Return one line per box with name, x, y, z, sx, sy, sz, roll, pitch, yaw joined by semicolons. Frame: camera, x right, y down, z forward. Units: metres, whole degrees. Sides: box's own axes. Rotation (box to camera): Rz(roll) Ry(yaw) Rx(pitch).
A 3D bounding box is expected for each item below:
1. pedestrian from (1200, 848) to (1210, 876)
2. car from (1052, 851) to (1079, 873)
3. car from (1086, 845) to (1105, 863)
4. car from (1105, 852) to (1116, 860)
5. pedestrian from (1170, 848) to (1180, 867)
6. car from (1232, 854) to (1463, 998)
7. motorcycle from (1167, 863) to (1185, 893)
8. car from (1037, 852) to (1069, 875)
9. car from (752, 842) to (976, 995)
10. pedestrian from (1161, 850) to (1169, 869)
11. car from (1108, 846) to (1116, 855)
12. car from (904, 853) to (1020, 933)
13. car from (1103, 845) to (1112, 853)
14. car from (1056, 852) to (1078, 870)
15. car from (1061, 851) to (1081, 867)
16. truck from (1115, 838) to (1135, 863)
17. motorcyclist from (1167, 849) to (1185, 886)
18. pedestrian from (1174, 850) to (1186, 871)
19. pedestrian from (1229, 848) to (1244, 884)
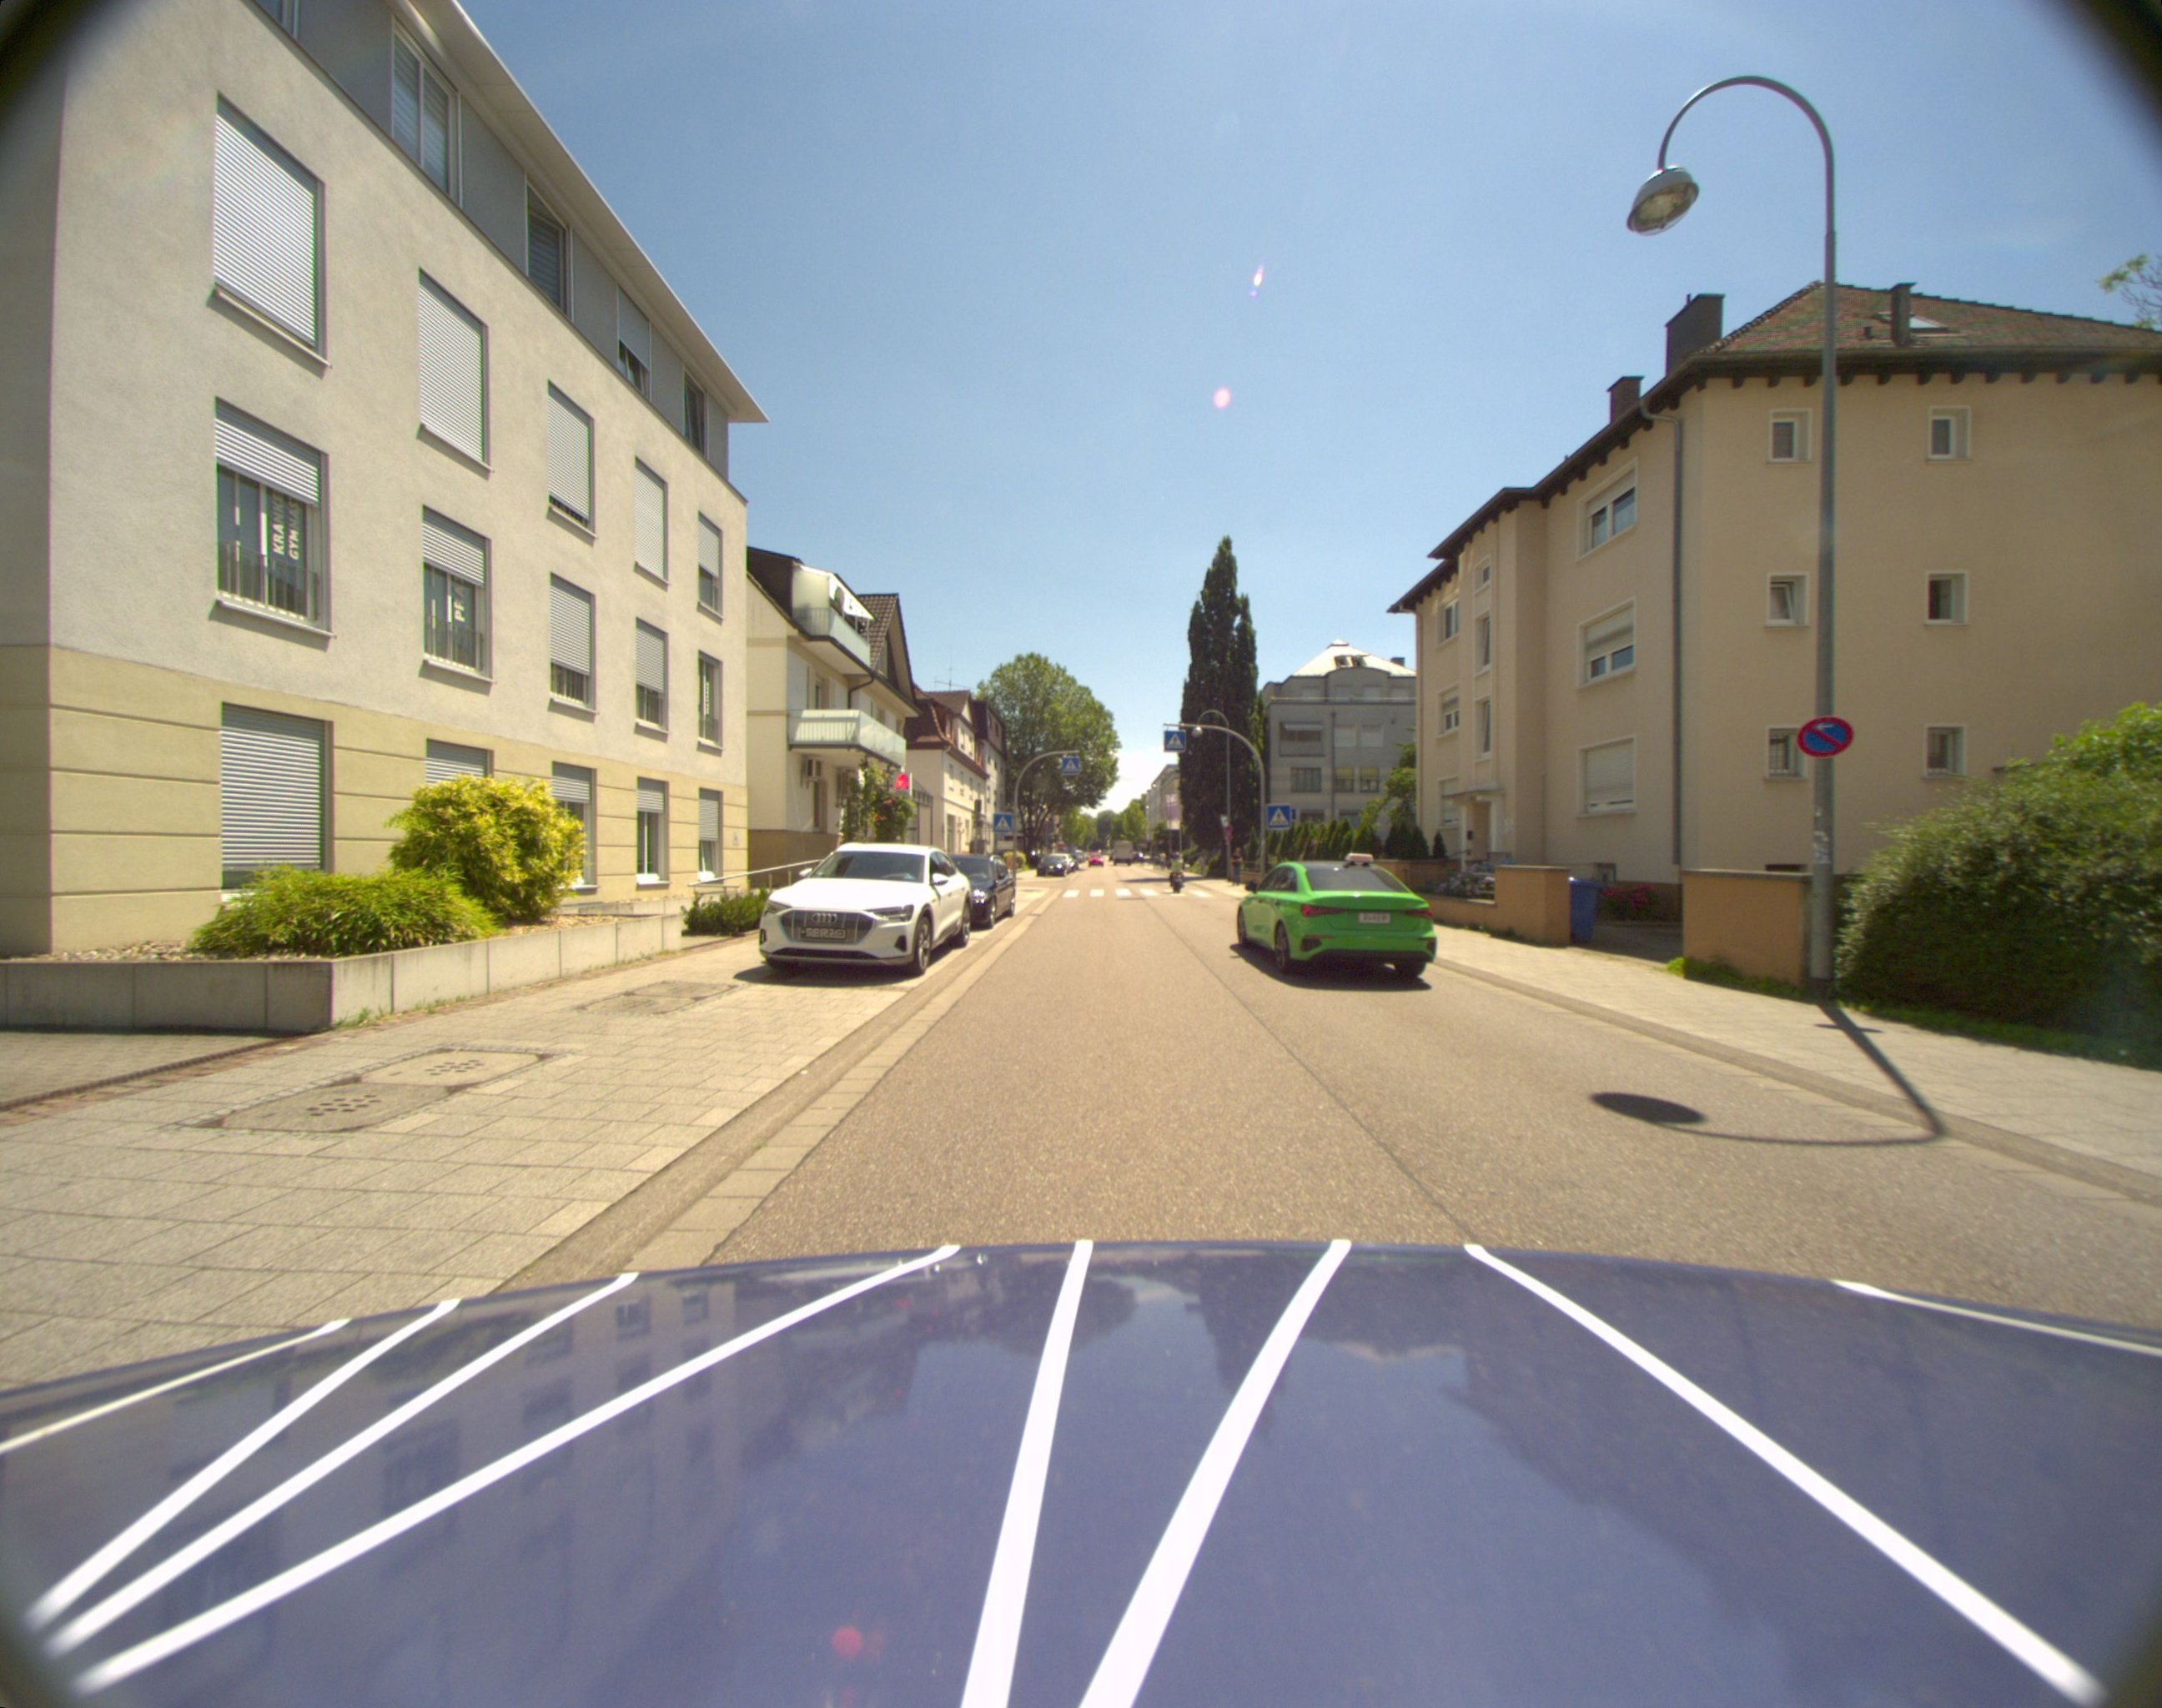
pedestrian;7.716;0.498;47.302;0.538;1.675;0.708;-1;1;1
car;-1.145;0.554;57.291;1.748;1.460;4.852;2;1;1
car;1.659;-0.006;86.000;2.000;1.880;4.294;-2;1;1
car;5.129;0.355;134.238;1.834;1.502;4.262;1;0;1
pedestrian;8.530;0.301;68.977;0.750;1.760;0.951;-1;1;1
car;3.401;0.807;10.591;1.827;1.579;4.100;1;1;1
motorcycle;3.715;0.925;29.632;0.700;1.101;1.791;0;0;8
car;-1.796;0.611;50.565;1.831;1.418;4.700;1;1;1
car;-2.760;0.709;10.824;1.709;1.656;4.580;2;0;2
pedestrian;7.611;0.516;68.976;0.622;1.667;0.903;-2;1;1
car;7.413;-0.871;179.547;1.731;2.154;4.294;1;1;1
car;-2.514;0.758;17.190;1.709;1.547;4.748;1;0;2
car;6.002;-1.152;174.165;1.731;1.500;4.294;9;0;0
car;-1.128;0.546;62.636;1.561;1.333;4.173;1;1;1
car;-1.013;0.462;74.374;1.834;1.502;4.758;0;0;-1
truck;5.462;-0.443;94.662;2.425;2.966;6.258;0;0;3
motorcyclist;3.723;0.535;29.712;0.700;1.425;0.707;0;1;7
pedestrian;7.900;0.502;60.745;0.847;1.635;0.751;-3;1;3
pedestrian;7.269;0.554;35.586;0.538;1.675;0.708;-1;1;1
